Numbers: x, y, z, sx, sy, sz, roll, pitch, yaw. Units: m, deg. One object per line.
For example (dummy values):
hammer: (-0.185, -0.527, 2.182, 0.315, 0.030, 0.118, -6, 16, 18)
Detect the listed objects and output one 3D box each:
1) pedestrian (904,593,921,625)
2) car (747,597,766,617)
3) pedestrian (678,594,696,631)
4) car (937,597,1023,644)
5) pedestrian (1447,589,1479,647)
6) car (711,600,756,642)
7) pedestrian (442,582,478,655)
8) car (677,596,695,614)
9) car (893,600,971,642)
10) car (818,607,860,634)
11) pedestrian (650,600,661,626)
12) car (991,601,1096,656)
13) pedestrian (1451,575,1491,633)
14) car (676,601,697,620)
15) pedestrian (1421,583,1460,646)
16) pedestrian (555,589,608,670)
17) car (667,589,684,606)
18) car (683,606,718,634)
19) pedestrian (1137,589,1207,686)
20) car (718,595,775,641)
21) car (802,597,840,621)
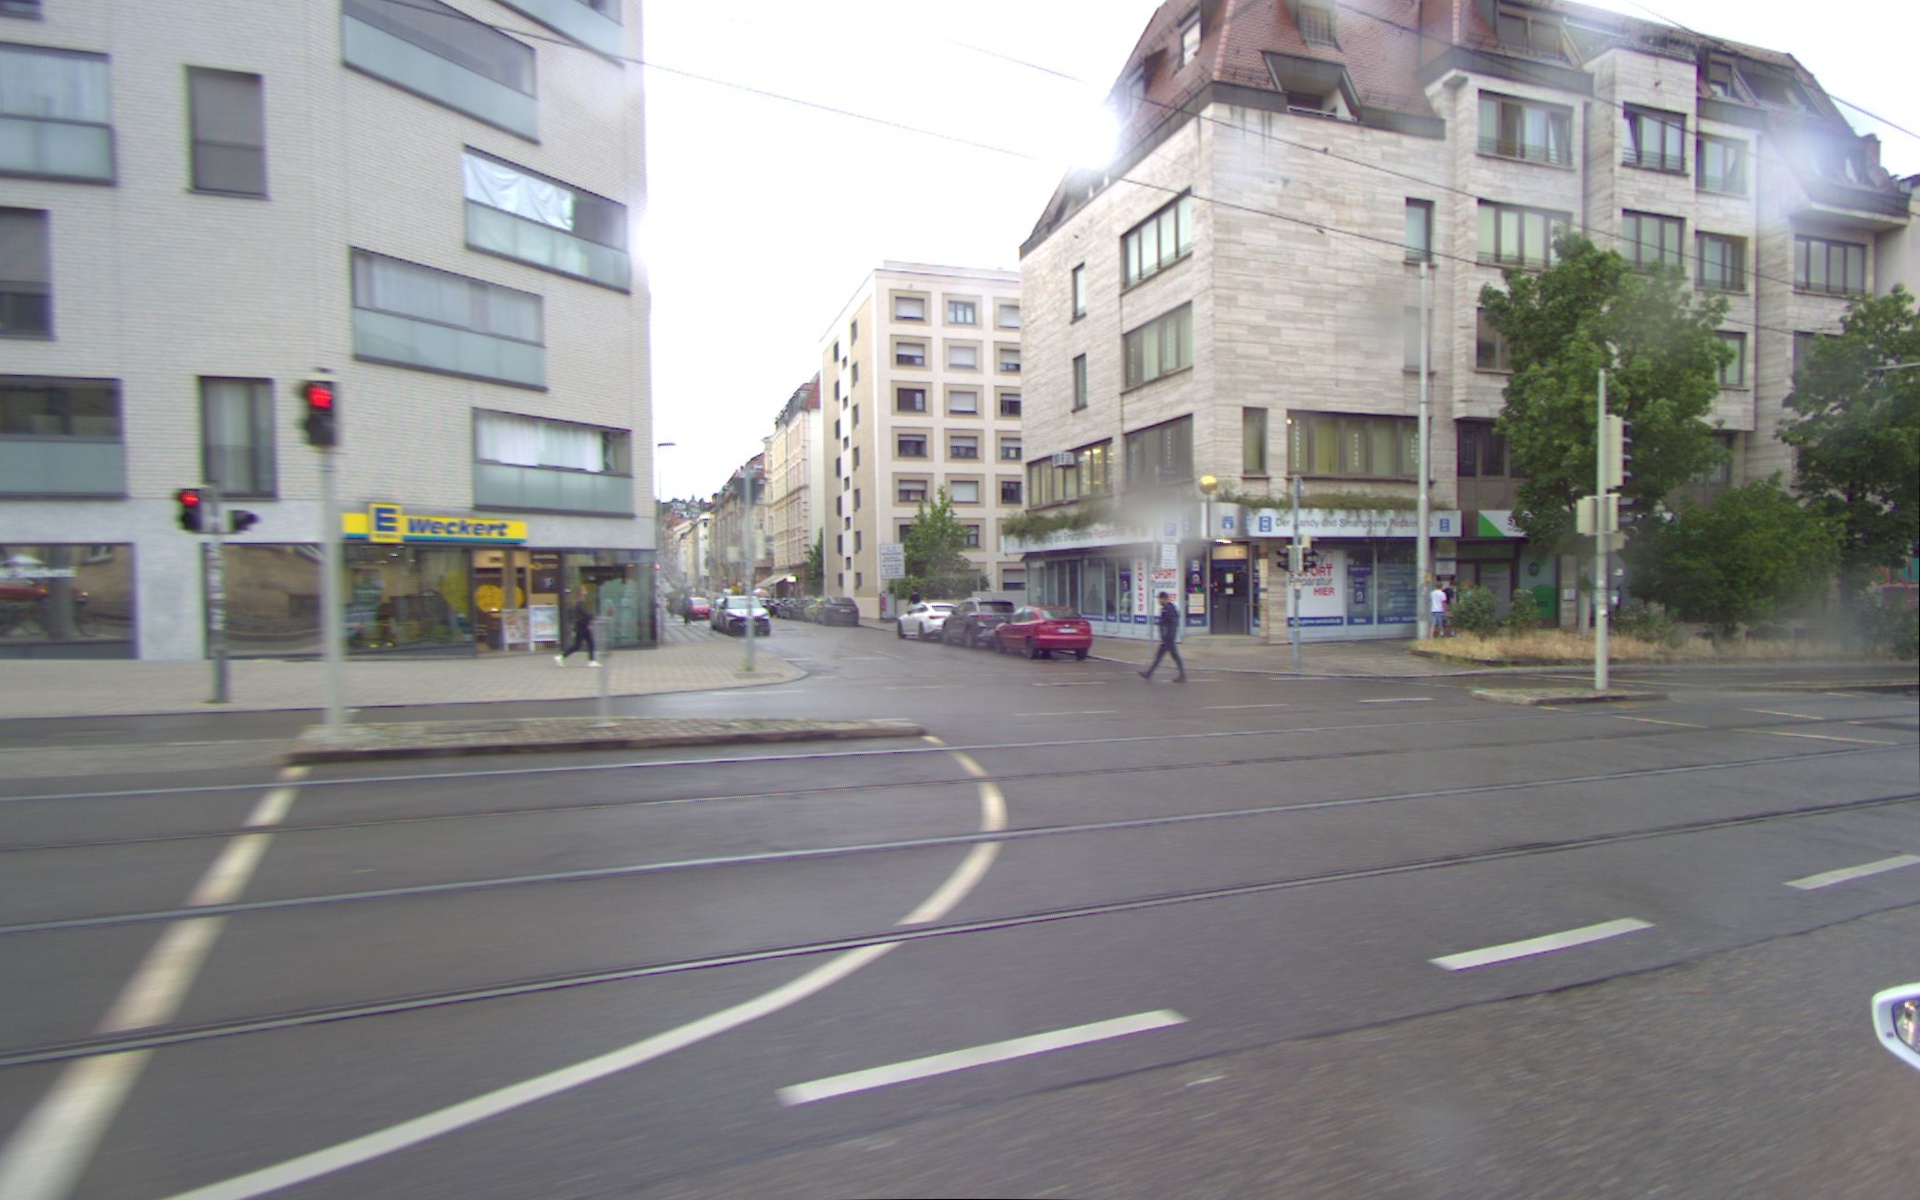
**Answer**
pedestrian: (-2.432, 0.478, 51.234, 0.640, 1.569, 0.680, 2, 2, -21)
car: (-18.070, 0.592, 89.245, 1.359, 1.594, 3.047, 3, 2, -16)
pedestrian: (-15.006, 0.701, 55.227, 0.803, 1.975, 0.855, 2, 2, -19)
car: (0.594, 0.634, 32.591, 1.569, 1.335, 3.689, 2, 0, -19)
pedestrian: (14.620, 0.519, 29.205, 0.577, 1.619, 0.503, 2, 2, -21)
car: (-10.506, 0.926, 46.471, 1.772, 1.617, 3.985, 3, 2, -16)
pedestrian: (-12.258, 0.441, 24.618, 0.581, 1.733, 0.696, 1, 2, -42)
car: (-27.243, 0.484, 99.887, 1.388, 1.594, 3.172, 2, 2, -20)
car: (-1.116, 0.741, 37.276, 1.569, 1.335, 4.482, 2, 0, -19)
car: (-6.735, 1.102, 55.723, 1.569, 1.335, 3.689, 2, 0, -19)
pedestrian: (-20.141, 0.859, 66.415, 0.653, 1.609, 0.539, 2, 2, -17)
car: (2.249, 0.742, 27.971, 1.569, 1.335, 3.690, 2, 0, -18)
pedestrian: (14.319, 0.097, 28.159, 0.673, 1.569, 0.646, 2, 2, -21)
car: (-26.213, 0.996, 96.290, 1.628, 1.594, 3.432, 2, 2, -20)
pedestrian: (13.765, 0.423, 28.787, 0.673, 1.747, 0.646, 2, 2, -21)
pedestrian: (-7.741, 0.588, 20.569, 0.637, 1.590, 0.775, 2, 1, 34)
car: (-29.833, -0.274, 105.204, 1.388, 1.594, 3.172, 2, 2, -20)
car: (-18.030, 1.393, 69.676, 1.775, 1.617, 3.979, 2, 2, -22)
pedestrian: (4.163, 0.734, 19.734, 0.947, 1.854, 0.927, 2, -1, -27)
car: (-8.948, 0.705, 41.860, 1.968, 1.617, 3.985, 3, 2, -16)
car: (-8.470, 0.548, 60.898, 1.569, 1.335, 3.689, 2, 0, -19)
